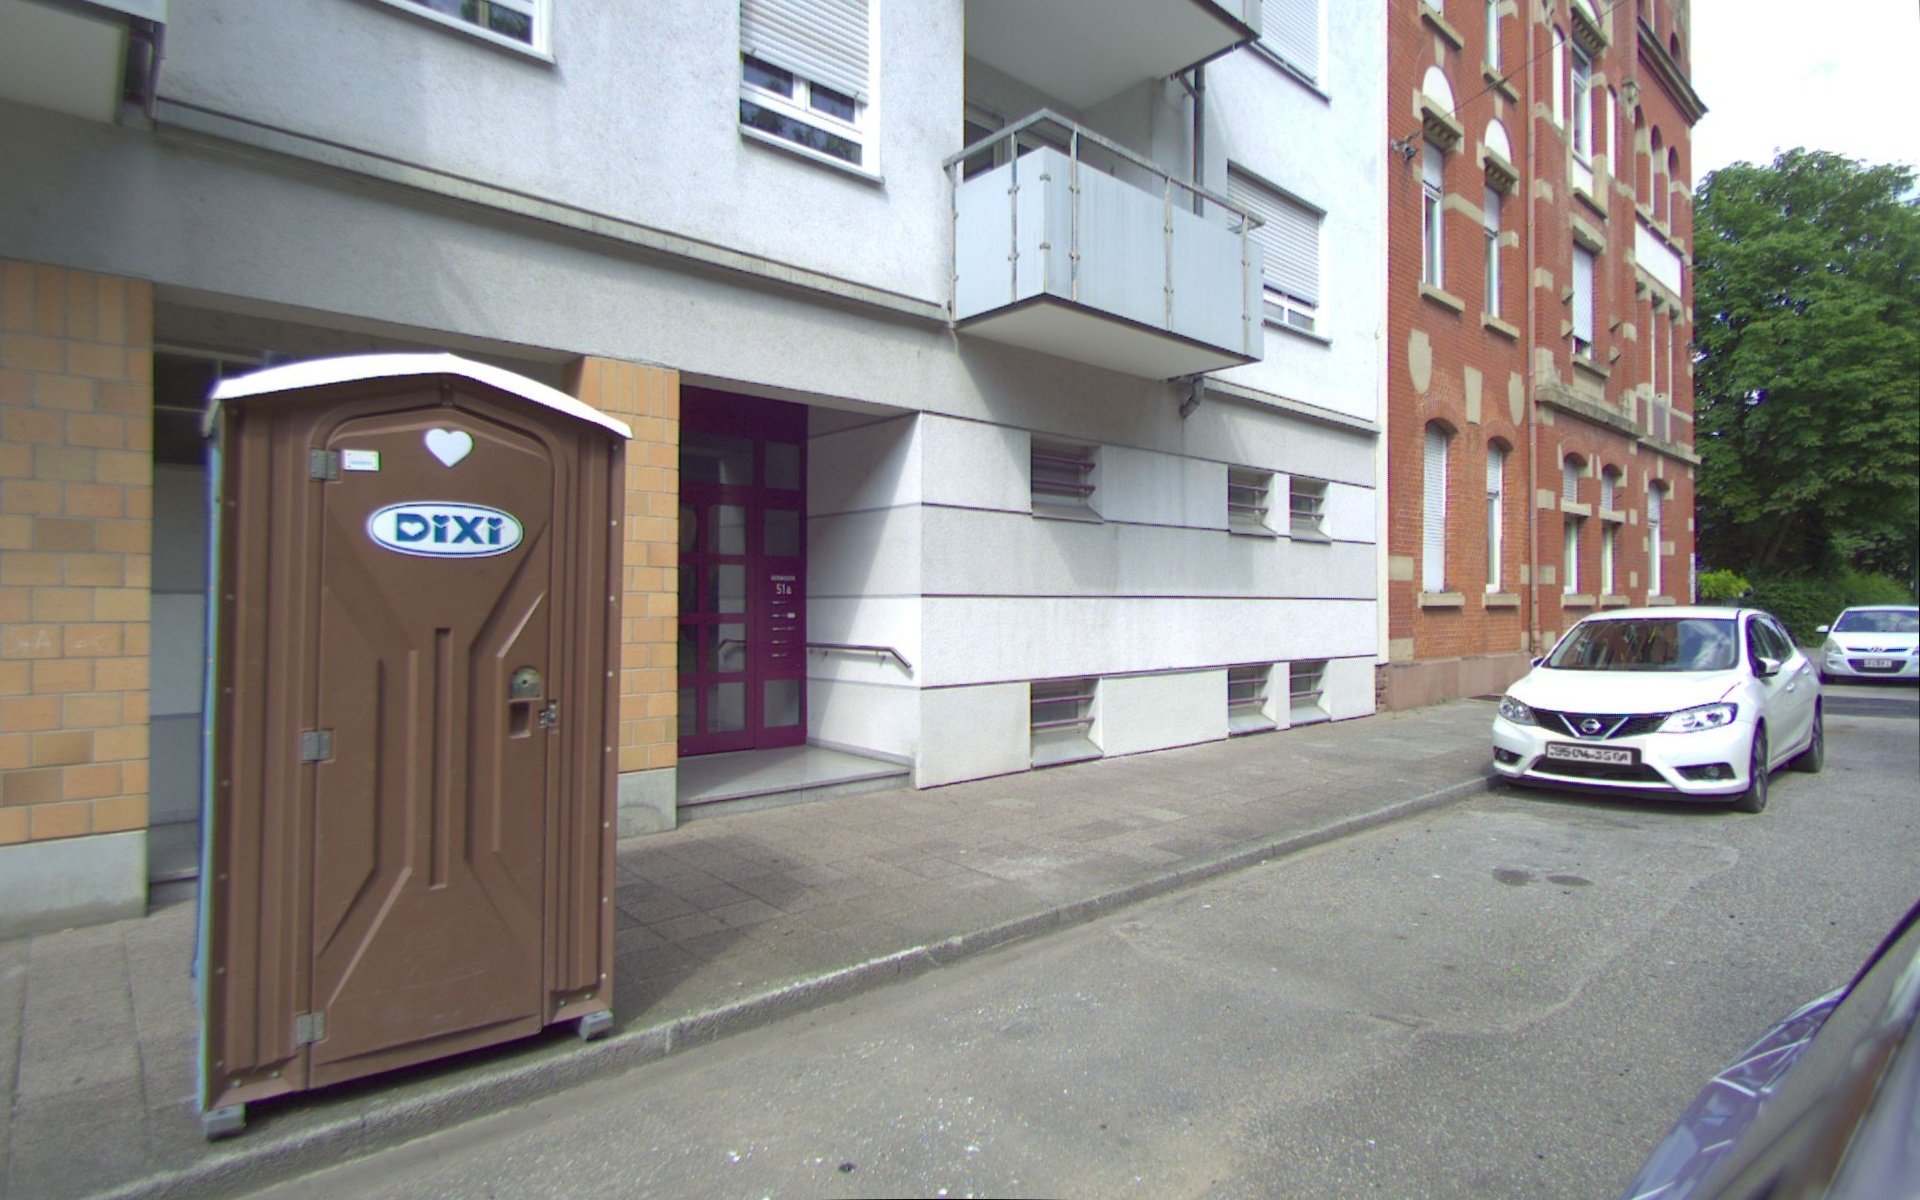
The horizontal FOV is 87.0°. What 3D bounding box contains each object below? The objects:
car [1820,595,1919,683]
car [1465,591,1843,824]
[{"bbox_3d":[18.077,0.689,19.463,3.971,1.549,1.799,0,-1,-42],"label":"car"},{"bbox_3d":[6.123,0.727,8.755,3.971,1.549,1.799,0,-1,-42],"label":"car"}]
